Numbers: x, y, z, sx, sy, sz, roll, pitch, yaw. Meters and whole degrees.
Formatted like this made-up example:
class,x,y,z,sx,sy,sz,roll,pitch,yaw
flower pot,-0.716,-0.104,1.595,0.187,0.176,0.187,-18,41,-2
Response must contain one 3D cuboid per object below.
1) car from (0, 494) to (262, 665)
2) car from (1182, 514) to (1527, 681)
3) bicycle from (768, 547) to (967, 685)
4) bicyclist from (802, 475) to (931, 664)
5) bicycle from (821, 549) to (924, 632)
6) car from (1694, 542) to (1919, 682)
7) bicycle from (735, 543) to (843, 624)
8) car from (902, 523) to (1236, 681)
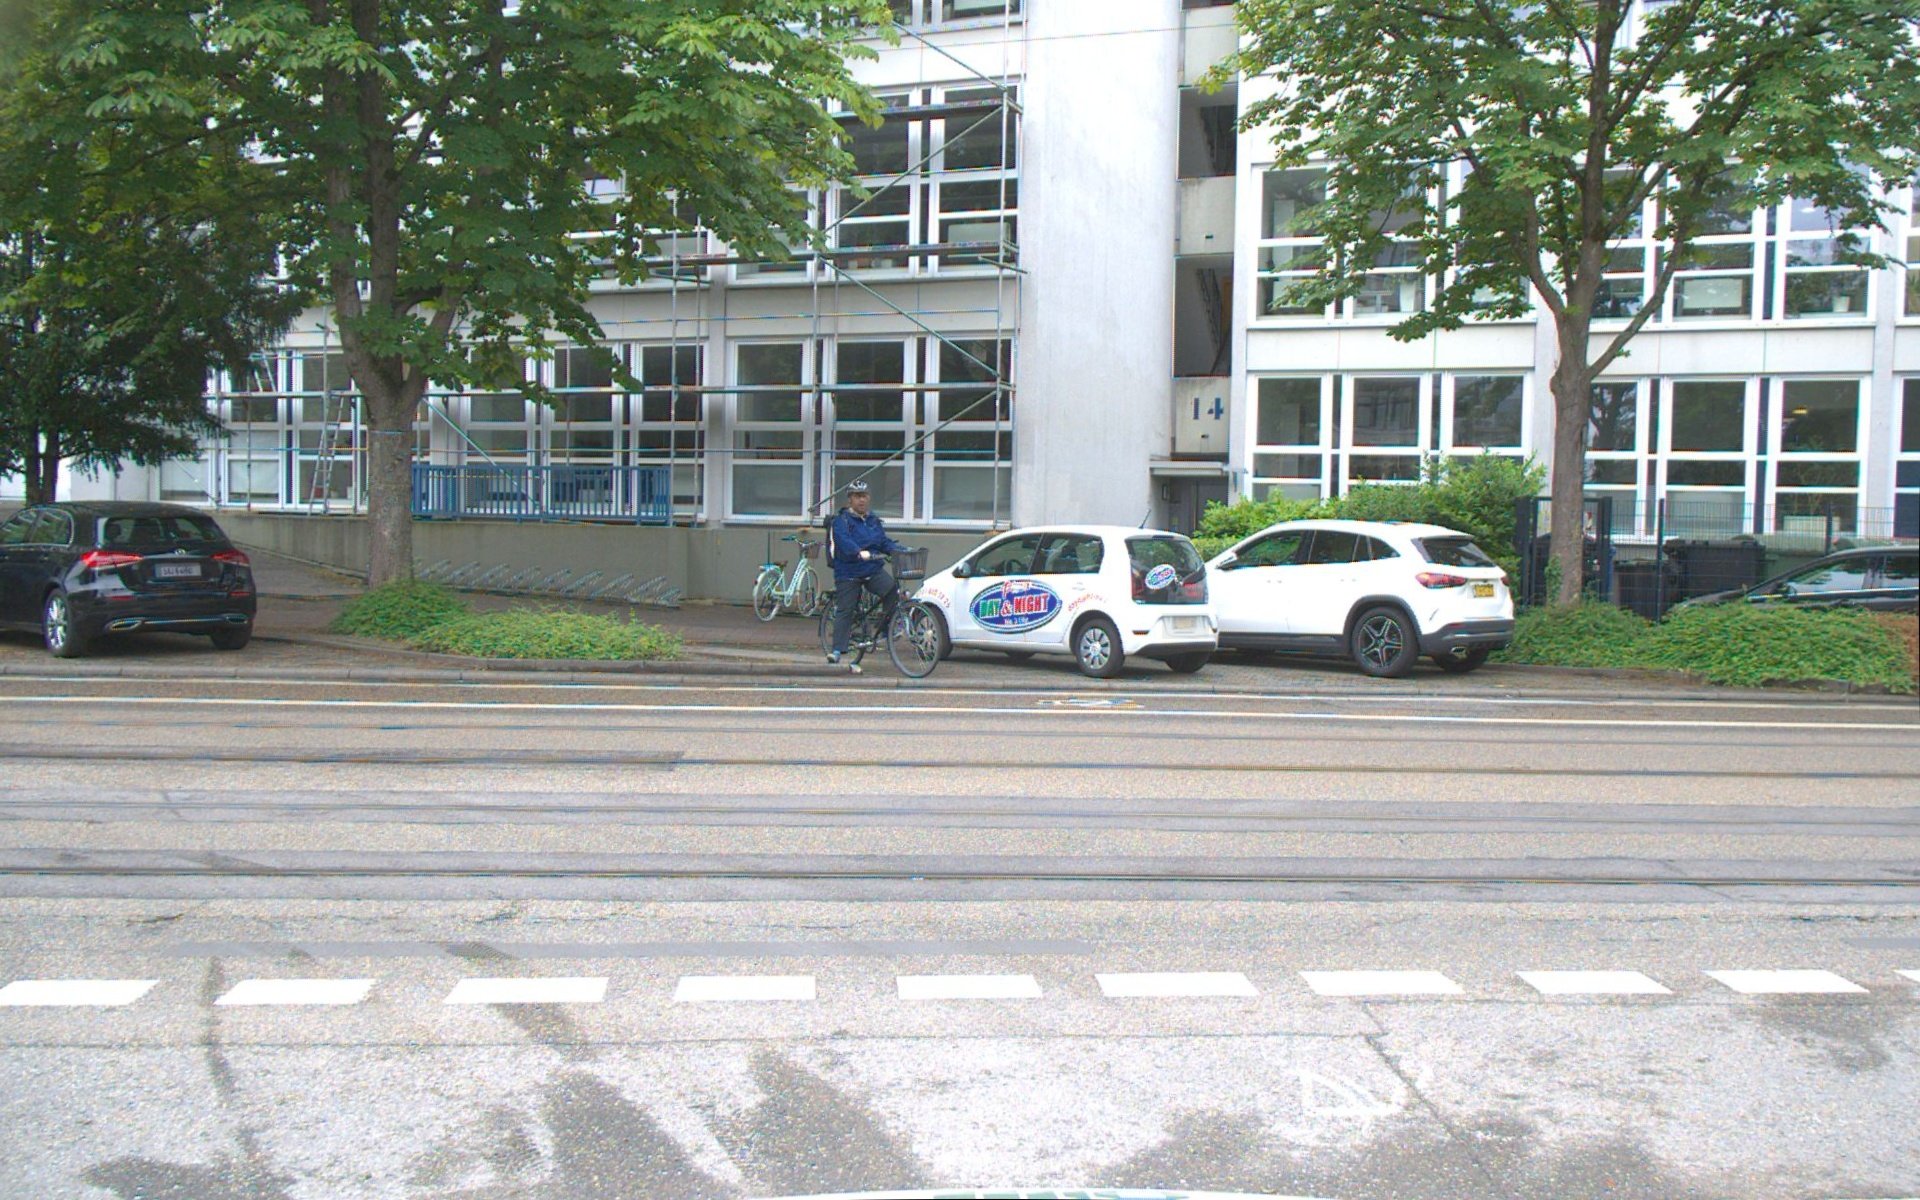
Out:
class,x,y,z,sx,sy,sz,roll,pitch,yaw
car,-8.493,-0.245,16.502,3.278,1.537,1.609,2,2,42
car,4.224,-0.088,18.006,1.545,1.646,3.352,-1,3,-45
bicycle,-0.898,0.119,15.670,1.883,1.194,0.816,3,3,44
bicyclist,-0.886,-0.301,15.664,0.882,1.727,0.828,3,3,44
bicycle,-1.197,-0.162,23.301,0.631,1.093,2.313,2,2,18
car,10.579,0.107,18.691,3.880,1.499,1.665,2,2,39
bicycle,-2.429,-0.257,23.756,0.631,1.093,2.313,2,2,18
car,1.087,-0.042,17.478,1.545,1.499,3.352,-1,3,-45
